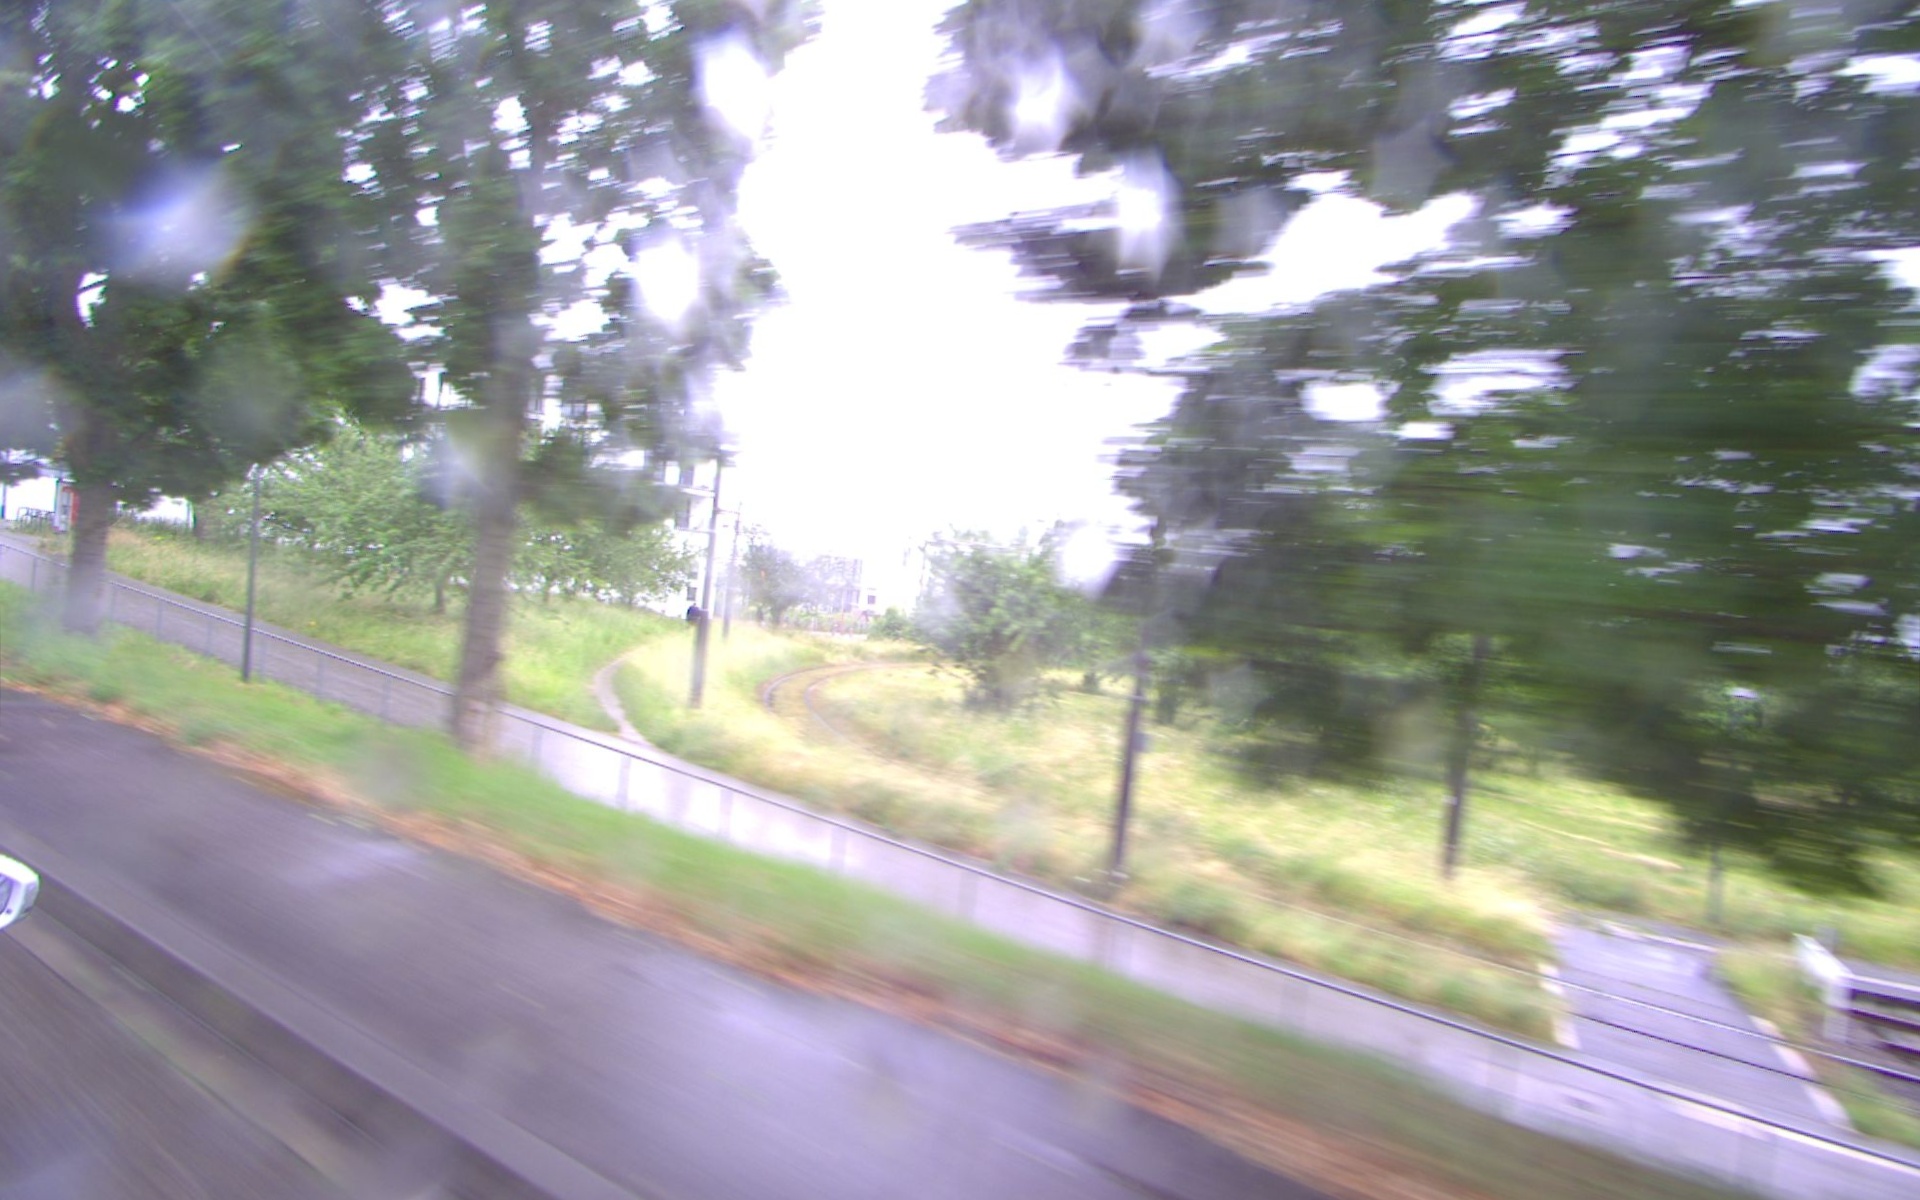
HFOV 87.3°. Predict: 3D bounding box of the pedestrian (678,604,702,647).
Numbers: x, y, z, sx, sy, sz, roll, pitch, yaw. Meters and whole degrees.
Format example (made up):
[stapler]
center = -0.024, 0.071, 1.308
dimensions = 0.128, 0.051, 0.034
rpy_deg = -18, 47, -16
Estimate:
[pedestrian]
center = -13.421, 1.246, 50.070
dimensions = 0.762, 2.039, 0.770
rpy_deg = 8, 2, -2
